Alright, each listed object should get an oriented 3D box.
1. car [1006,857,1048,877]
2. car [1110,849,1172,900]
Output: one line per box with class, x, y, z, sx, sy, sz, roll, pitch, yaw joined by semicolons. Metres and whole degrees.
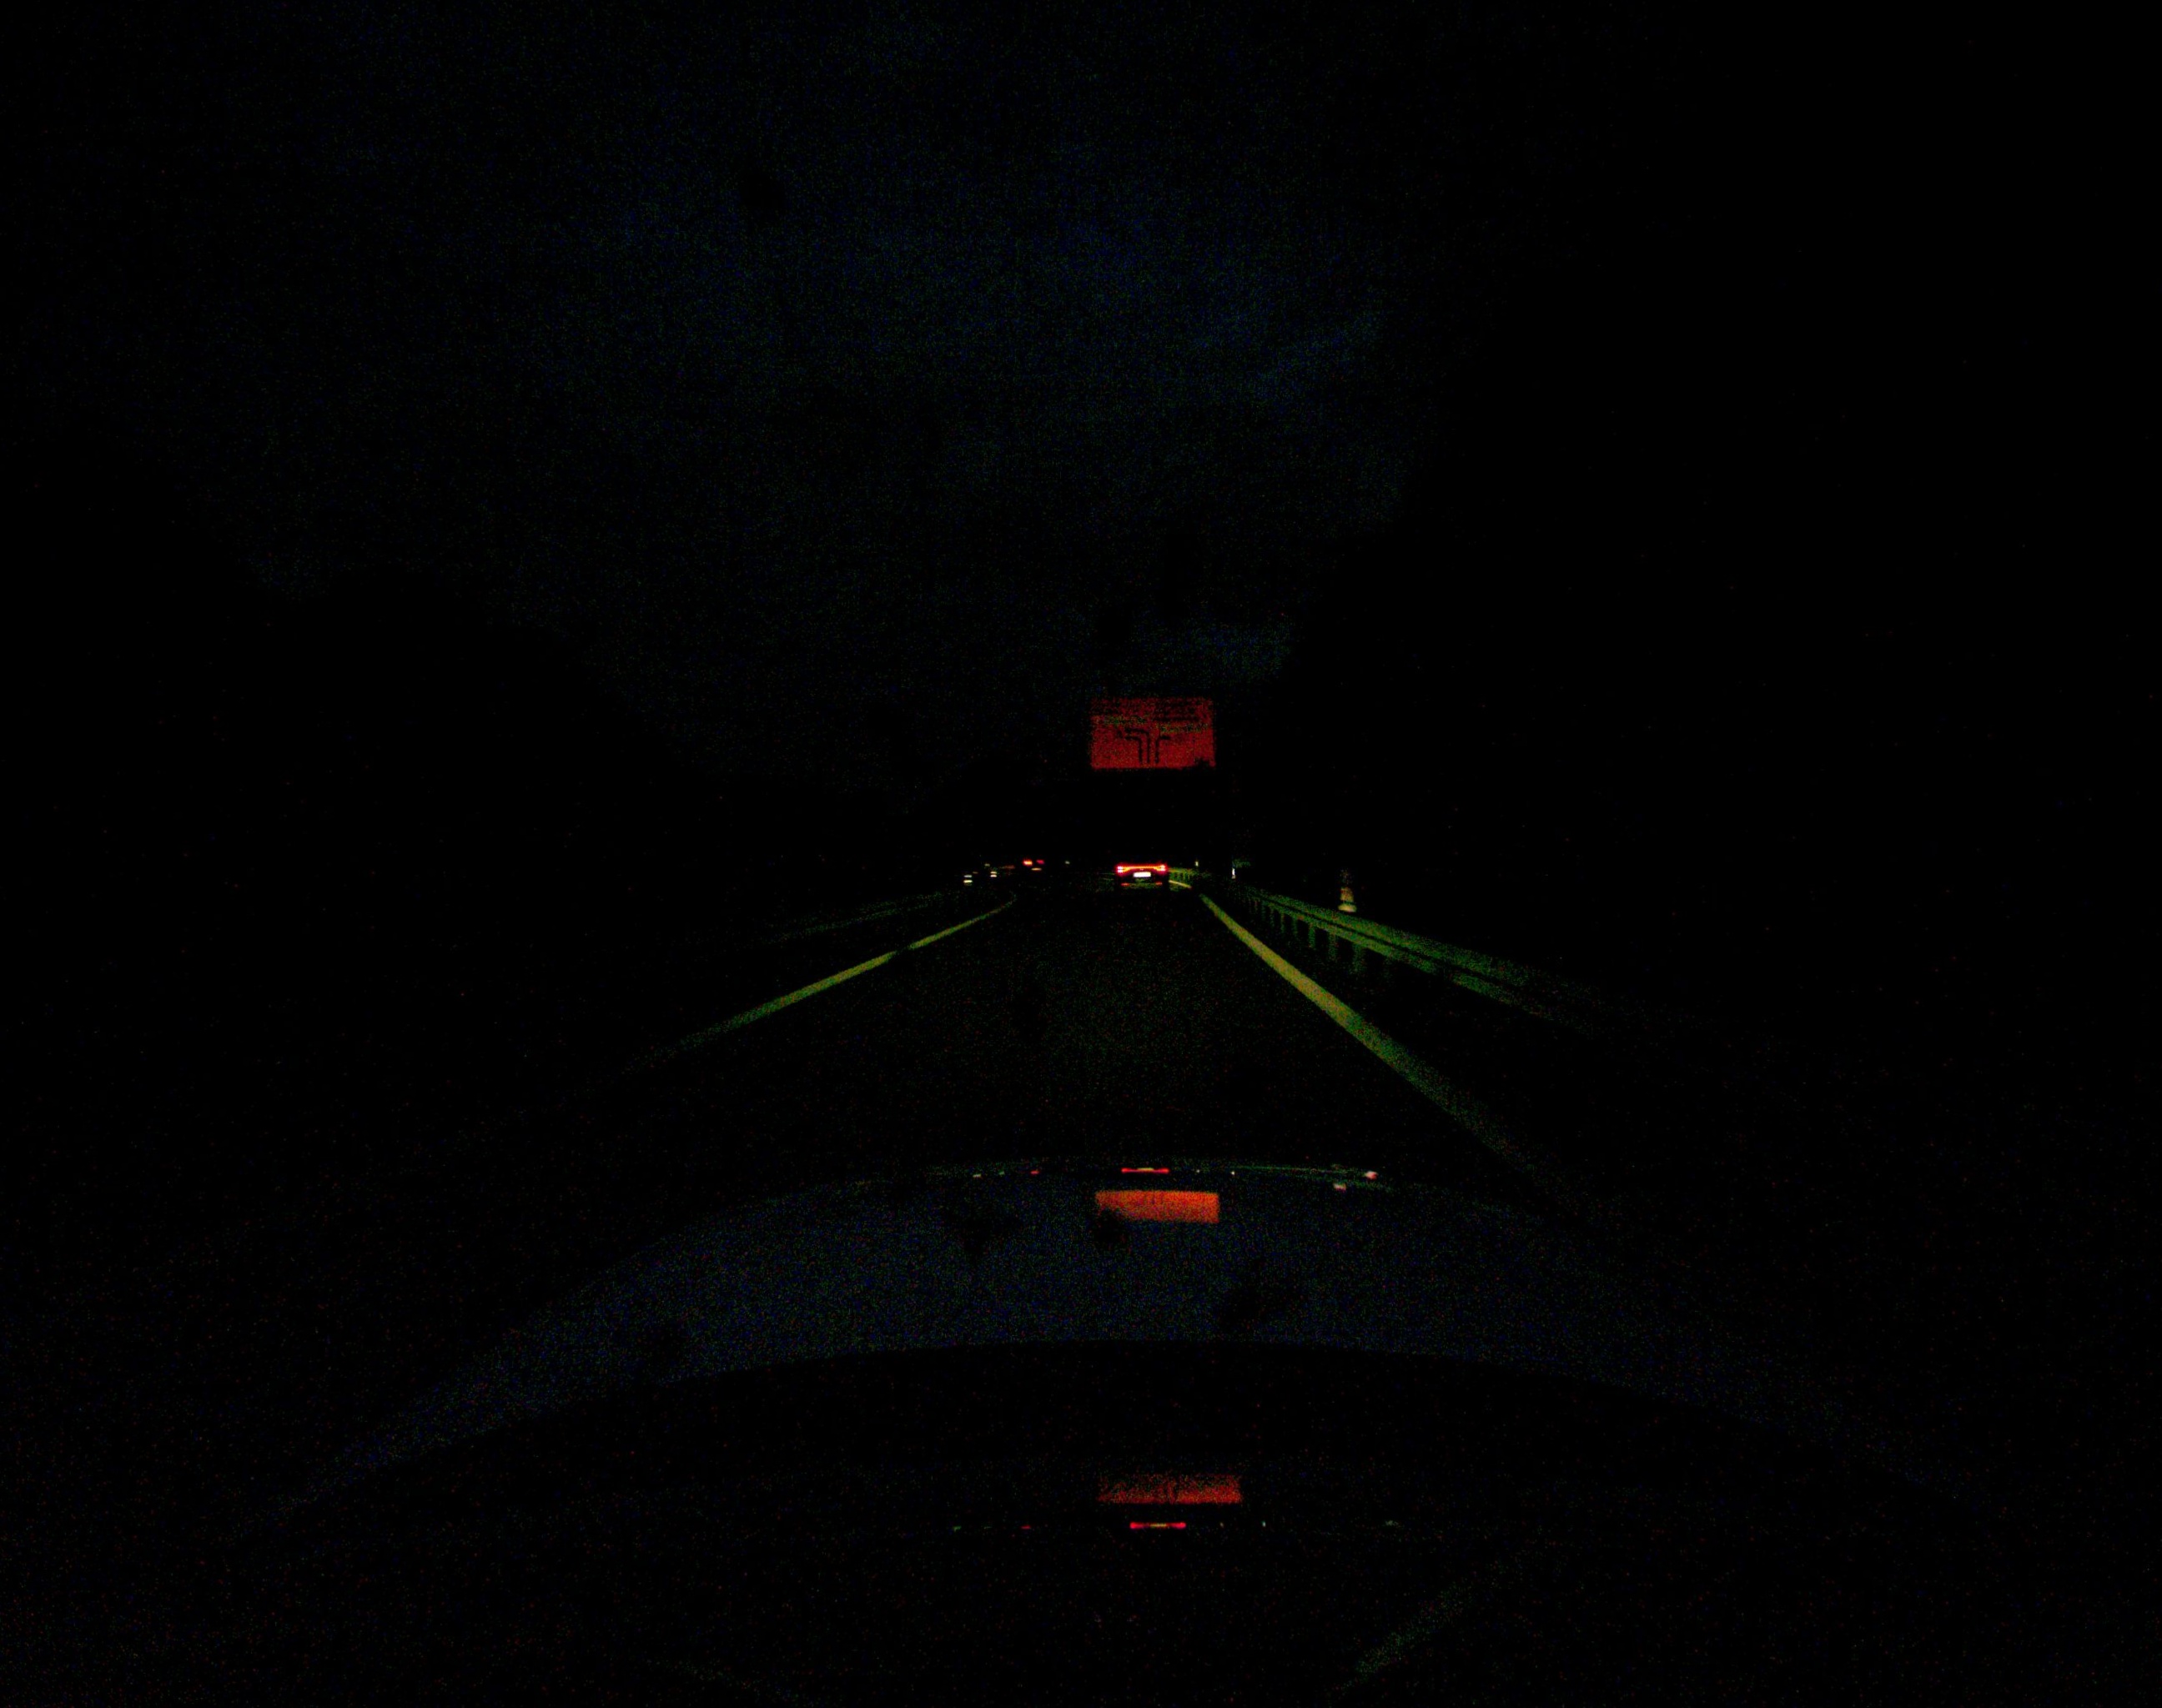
car;-4.768;1.125;71.530;2.008;1.598;3.958;2;0;-34
car;2.205;0.683;28.875;1.983;1.659;4.322;-1;0;6
